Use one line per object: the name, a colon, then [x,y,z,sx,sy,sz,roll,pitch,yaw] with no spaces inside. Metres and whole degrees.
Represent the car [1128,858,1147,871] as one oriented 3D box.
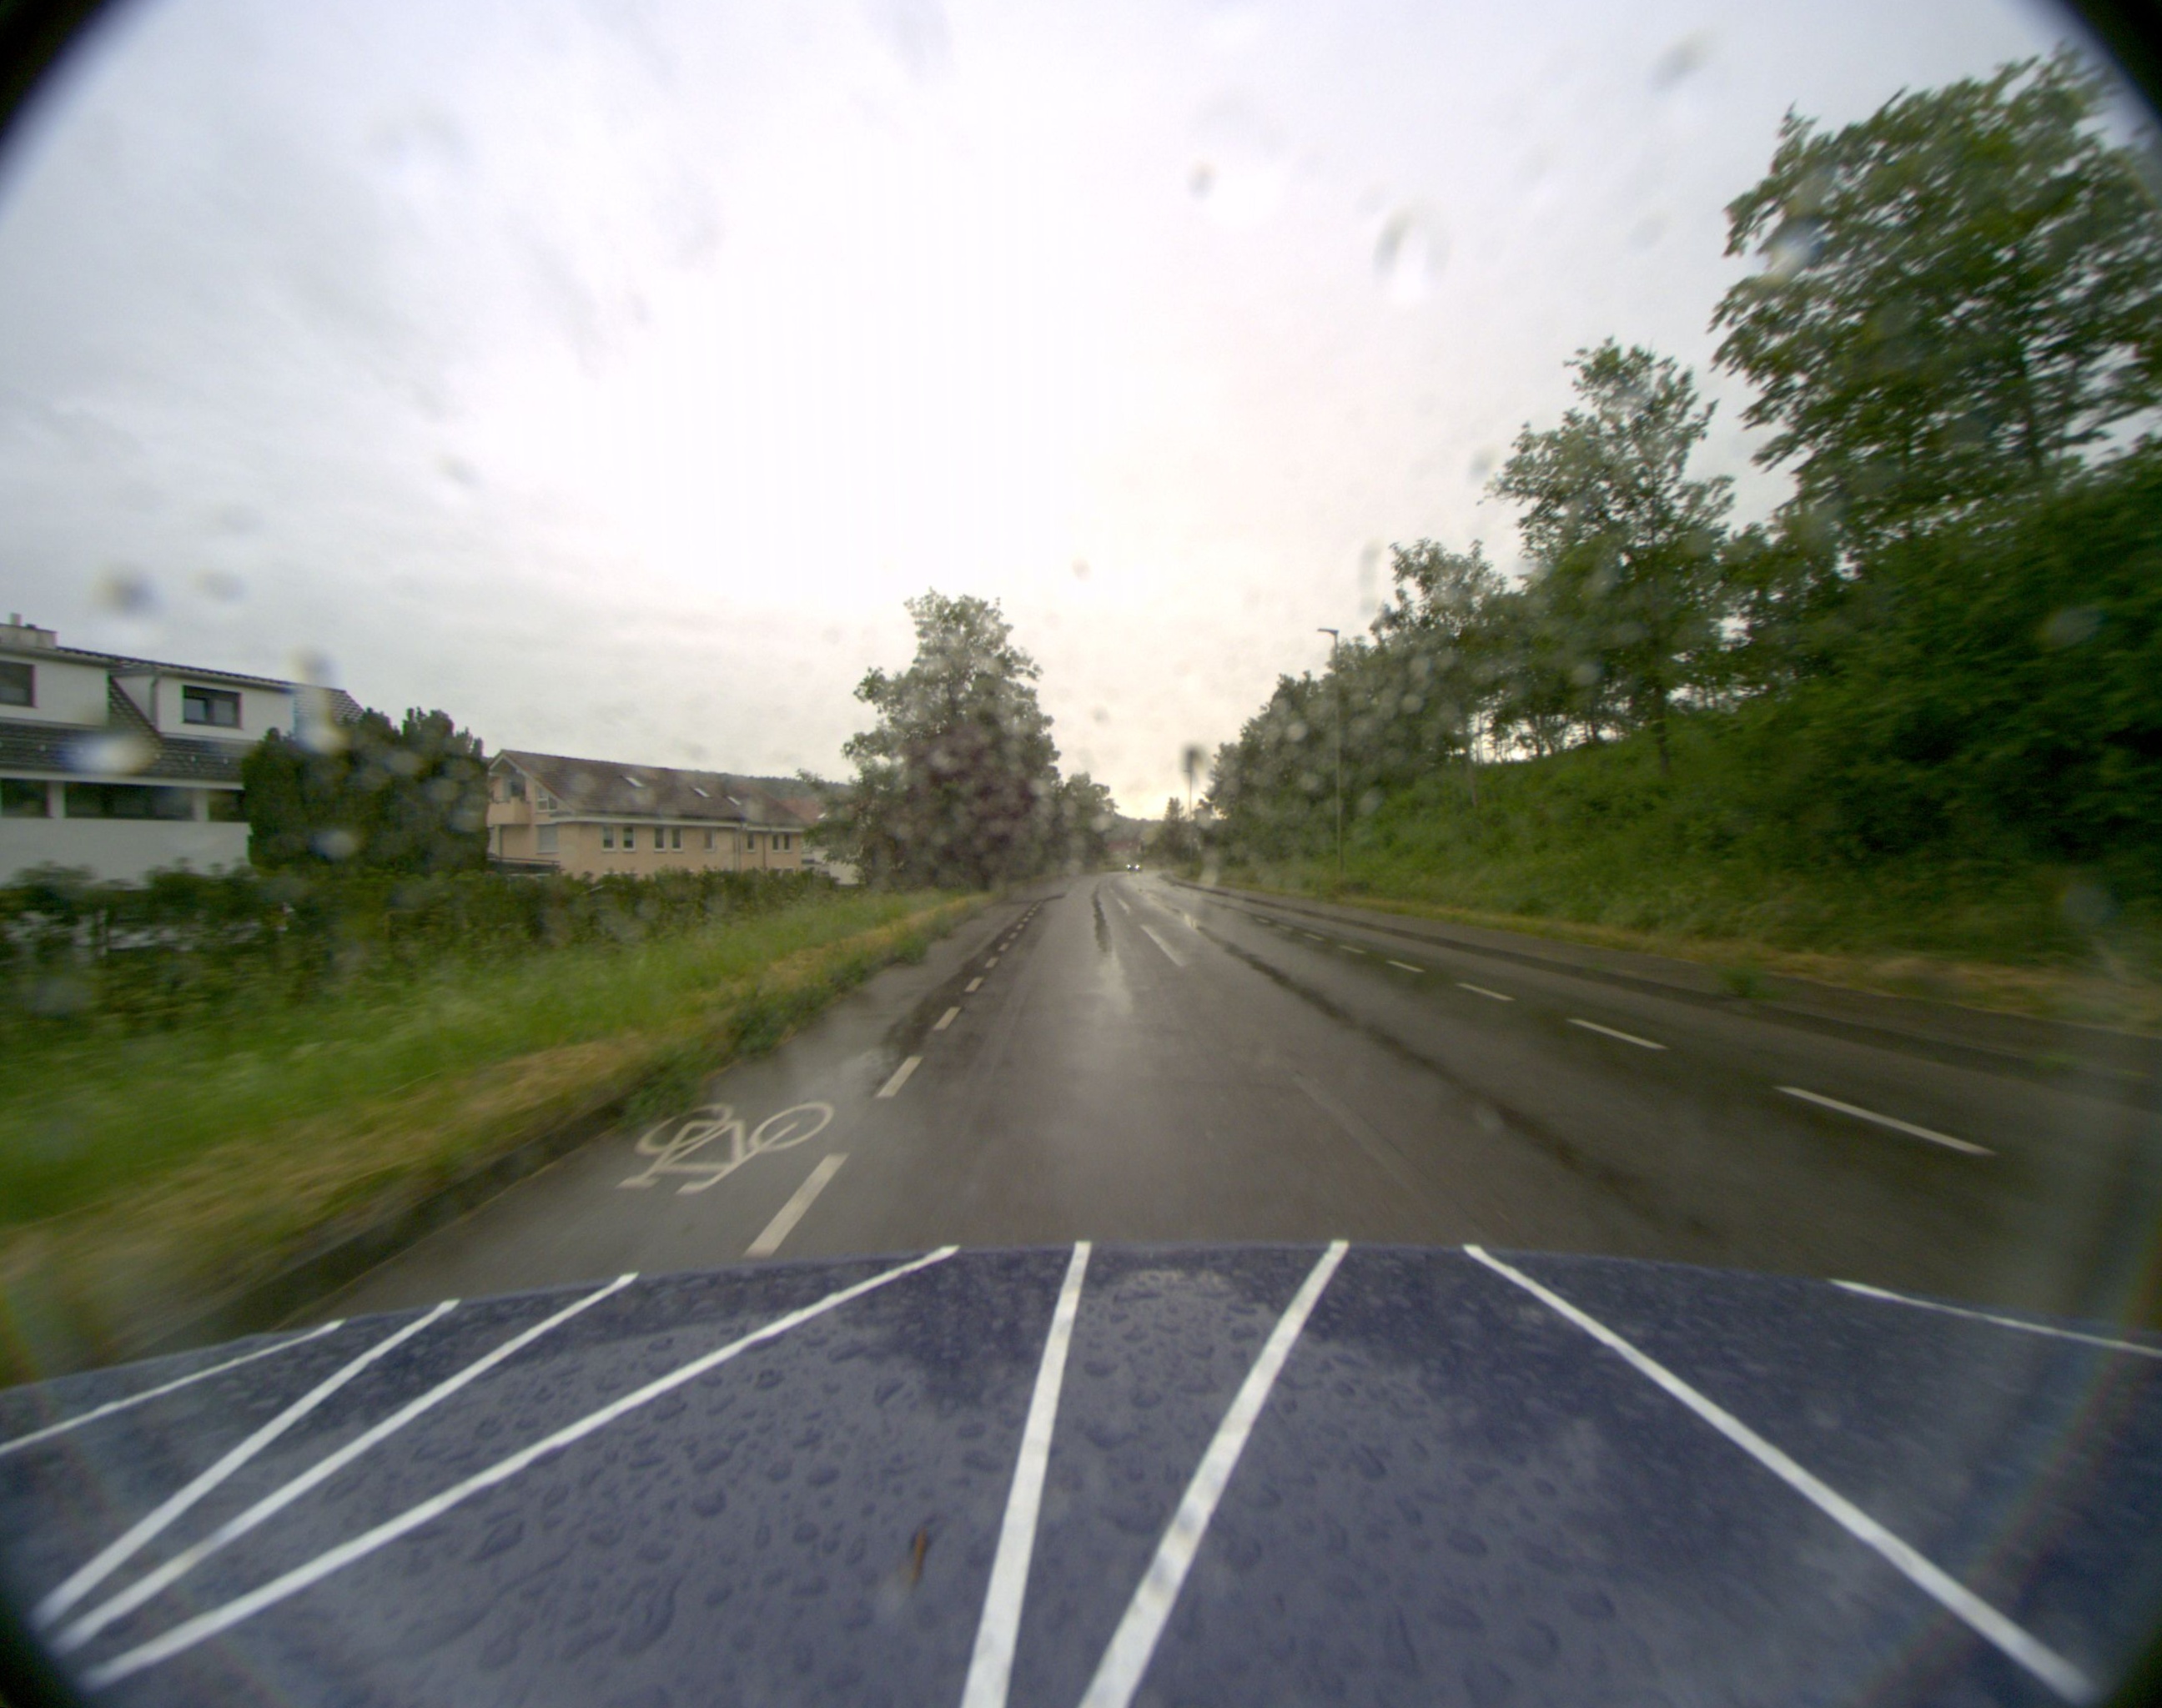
car: [8.289,1.520,111.282,1.996,1.831,4.005,-1,0,16]
